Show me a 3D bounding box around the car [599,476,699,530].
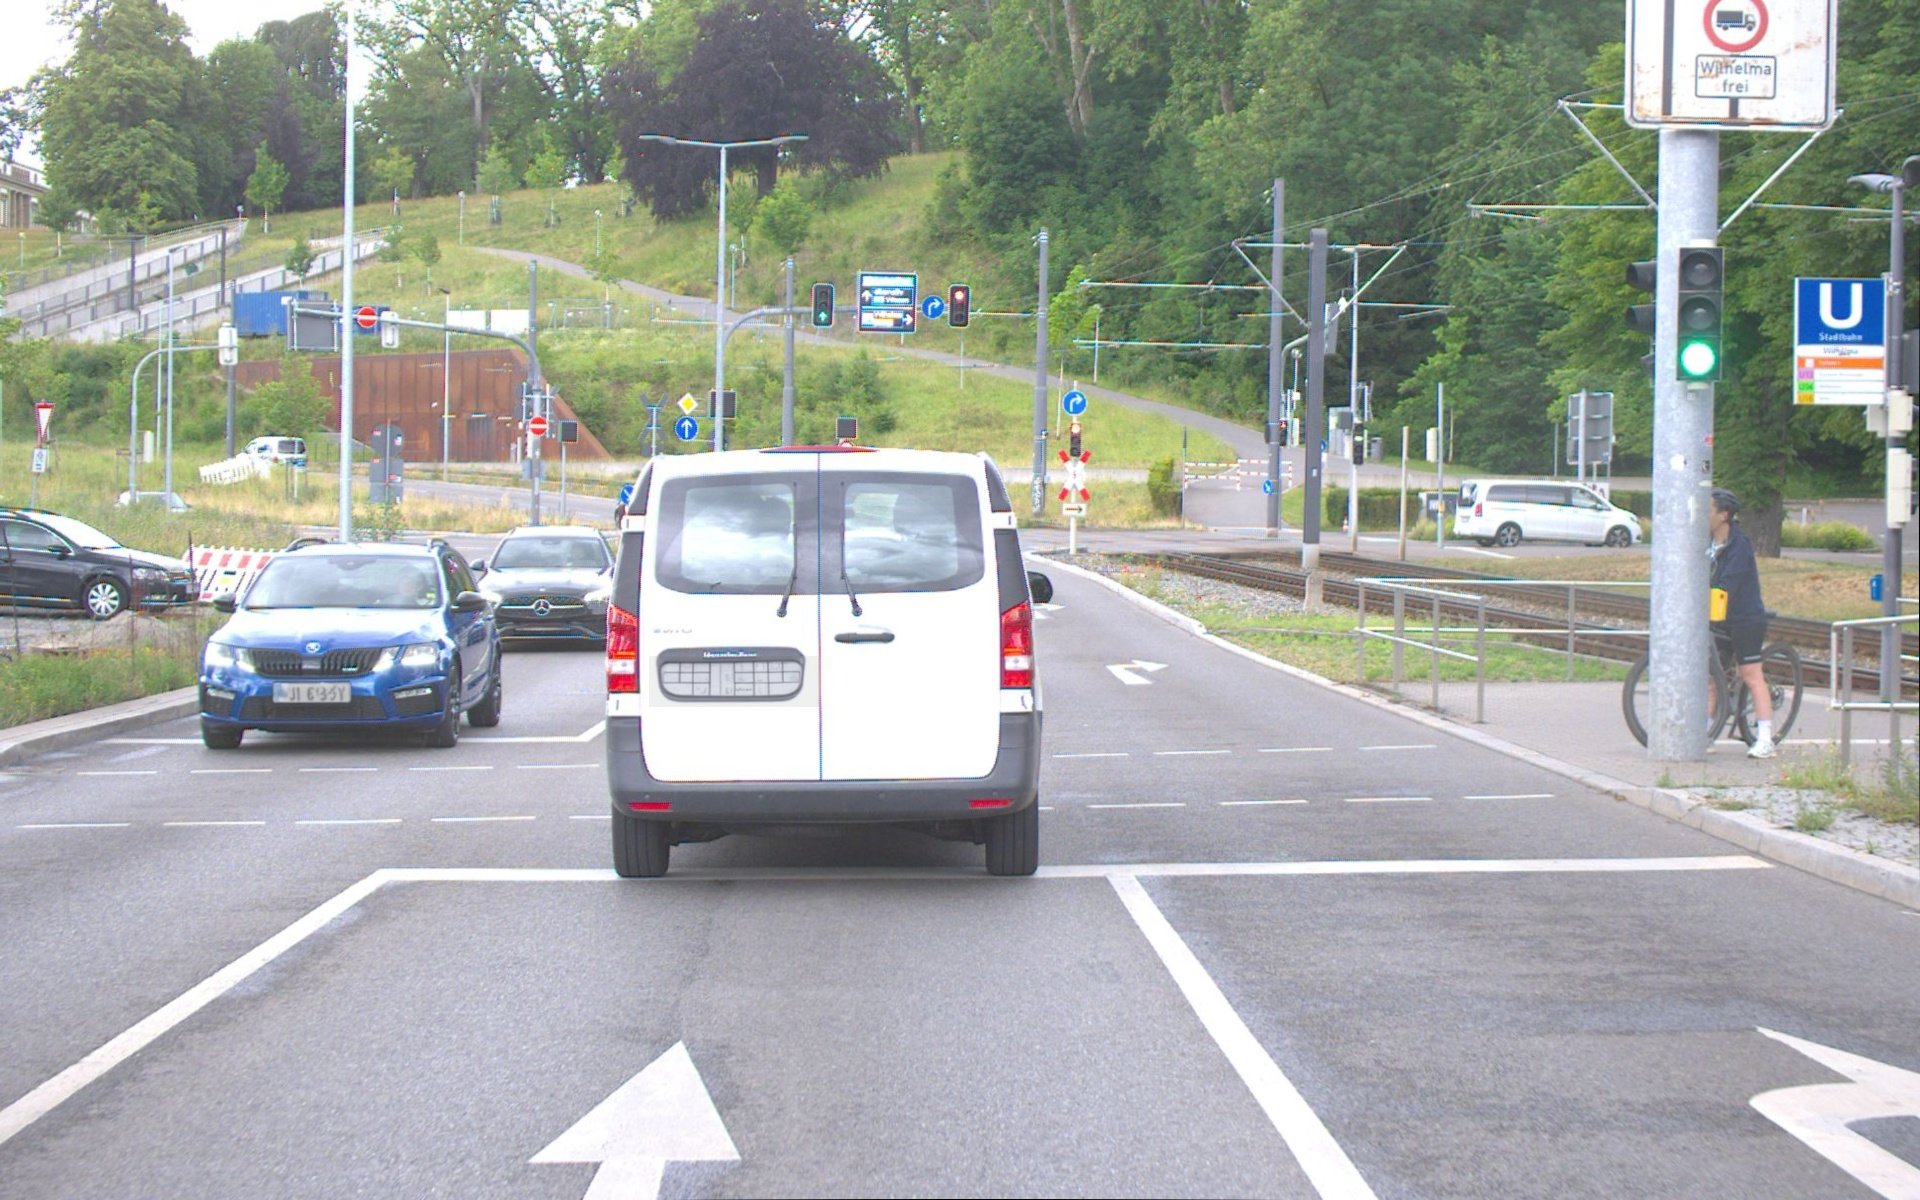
[{"bbox_3d":[-10.219,-3.202,112.722,1.937,1.621,4.001,1,2,-26],"label":"car"}]

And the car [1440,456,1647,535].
[{"bbox_3d":[16.167,-2.892,95.391,5.133,2.006,2.209,2,2,-10],"label":"car"}]

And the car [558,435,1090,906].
[{"bbox_3d":[-0.472,0.220,16.209,1.959,1.897,4.461,-1,2,5],"label":"car"}]

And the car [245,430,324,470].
[{"bbox_3d":[-29.196,-6.478,148.562,1.937,1.621,4.000,1,2,-34],"label":"car"}]

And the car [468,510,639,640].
[{"bbox_3d":[-5.010,-0.338,42.889,1.730,1.523,4.445,0,1,-2],"label":"car"}]

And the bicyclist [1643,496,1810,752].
[{"bbox_3d":[4.853,0.137,21.765,0.804,1.566,0.618,-1,4,-40],"label":"bicyclist"}]

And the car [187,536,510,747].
[{"bbox_3d":[-4.448,0.241,25.602,1.730,1.416,4.445,0,1,-2],"label":"car"}]

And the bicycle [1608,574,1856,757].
[{"bbox_3d":[4.915,0.396,21.836,1.679,1.070,0.620,-1,4,-40],"label":"bicycle"}]

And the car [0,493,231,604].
[{"bbox_3d":[-12.885,-0.749,48.426,4.711,1.472,2.000,1,3,9],"label":"car"}]
